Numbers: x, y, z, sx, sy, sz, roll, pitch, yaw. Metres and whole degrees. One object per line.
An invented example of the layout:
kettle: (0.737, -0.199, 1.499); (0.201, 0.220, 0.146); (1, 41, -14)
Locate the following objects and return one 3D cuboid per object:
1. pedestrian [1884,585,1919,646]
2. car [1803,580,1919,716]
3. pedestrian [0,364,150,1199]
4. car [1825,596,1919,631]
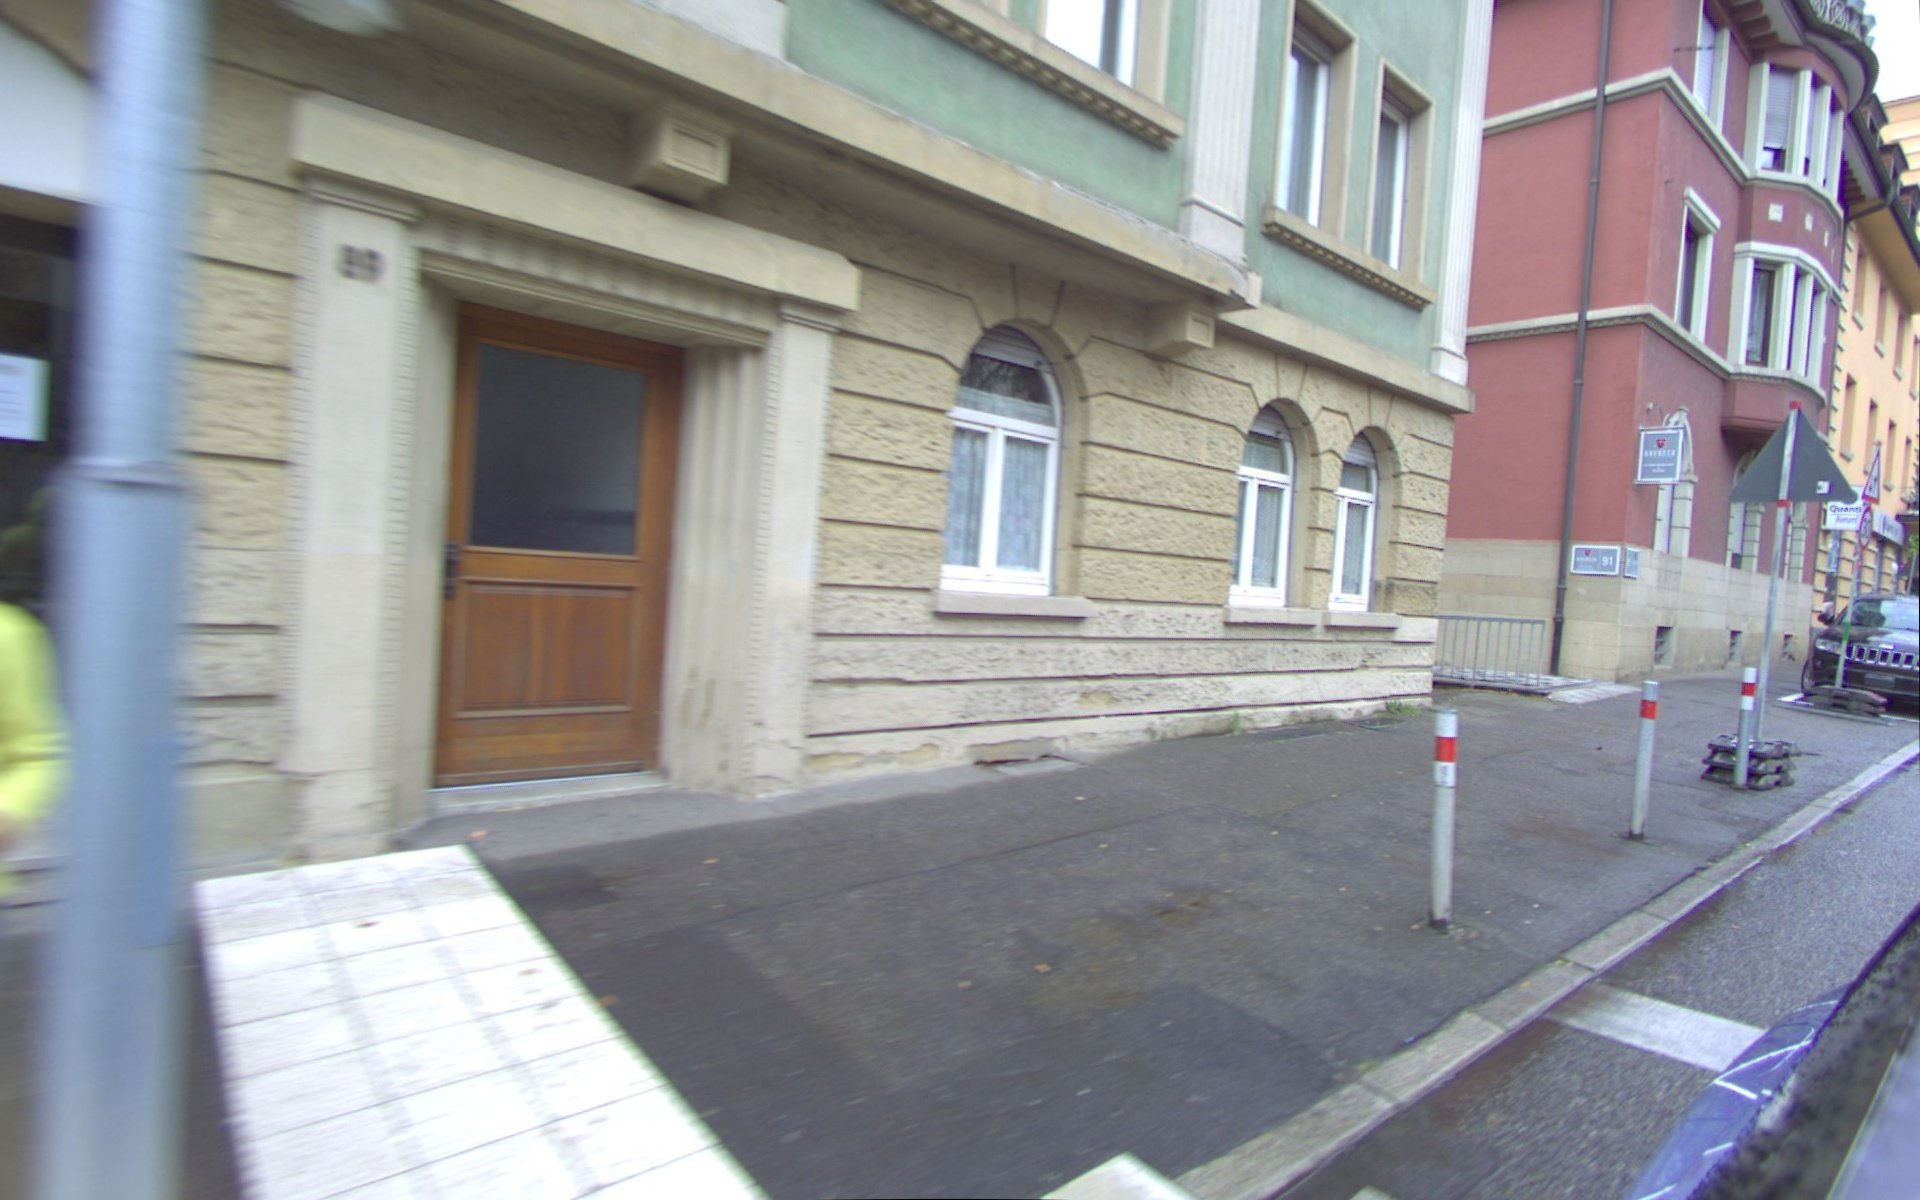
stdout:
pedestrian: (26.043, 0.428, 27.790); (0.763, 1.608, 0.704); (4, 4, 31)
car: (14.206, 0.630, 14.864); (4.615, 1.648, 1.882); (-1, 7, -40)
pedestrian: (-1.767, 0.428, 1.600); (0.662, 1.603, 0.591); (6, 4, 36)
car: (42.239, 0.602, 46.033); (1.970, 1.517, 4.269); (1, -1, -45)
